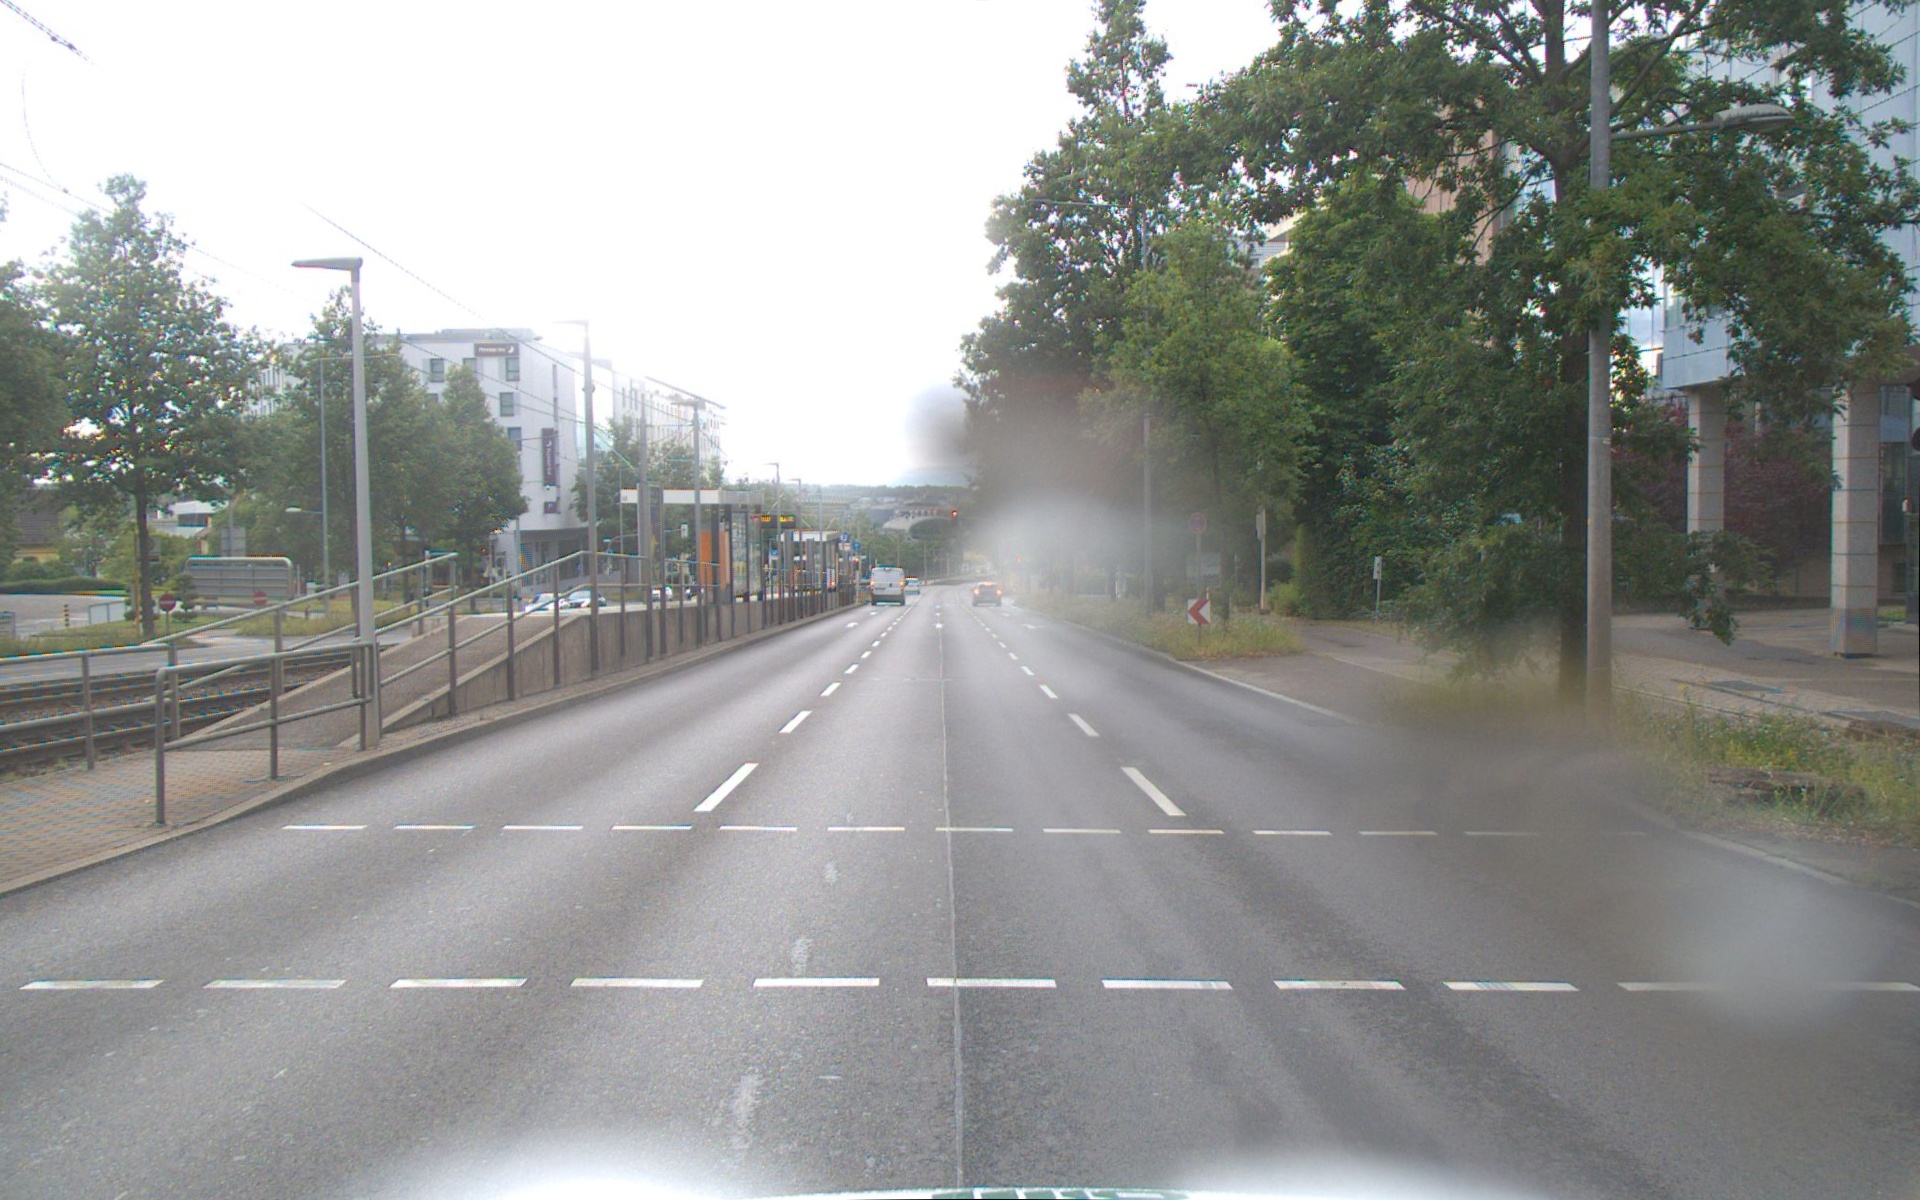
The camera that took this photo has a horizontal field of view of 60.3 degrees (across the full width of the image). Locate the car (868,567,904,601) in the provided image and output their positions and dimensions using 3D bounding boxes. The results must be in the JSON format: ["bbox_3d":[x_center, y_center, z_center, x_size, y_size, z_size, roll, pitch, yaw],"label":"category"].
[{"bbox_3d":[-4.566,-0.979,102.415,2.050,2.089,4.605,0,1,-1],"label":"car"}]

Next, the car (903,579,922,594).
[{"bbox_3d":[-4.551,-1.333,159.327,1.747,1.414,4.000,0,1,-1],"label":"car"}]

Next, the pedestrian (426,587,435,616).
[{"bbox_3d":[-35.476,0.073,110.872,0.465,1.954,0.490,0,0,-1],"label":"pedestrian"}]

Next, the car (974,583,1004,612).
[{"bbox_3d":[1.811,-0.171,102.810,1.738,1.720,3.845,0,1,-1],"label":"car"}]

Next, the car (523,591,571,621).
[{"bbox_3d":[-21.394,0.306,85.767,1.618,1.461,3.877,-2,1,-3],"label":"car"}]

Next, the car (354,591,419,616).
[{"bbox_3d":[-33.067,0.210,95.374,3.297,1.411,1.434,0,1,16],"label":"car"}]

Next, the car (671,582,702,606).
[{"bbox_3d":[-17.592,-0.381,106.387,1.622,1.461,3.866,-2,1,-14],"label":"car"}]

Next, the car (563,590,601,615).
[{"bbox_3d":[-22.062,0.113,96.656,1.536,1.402,3.517,0,1,-3],"label":"car"}]
